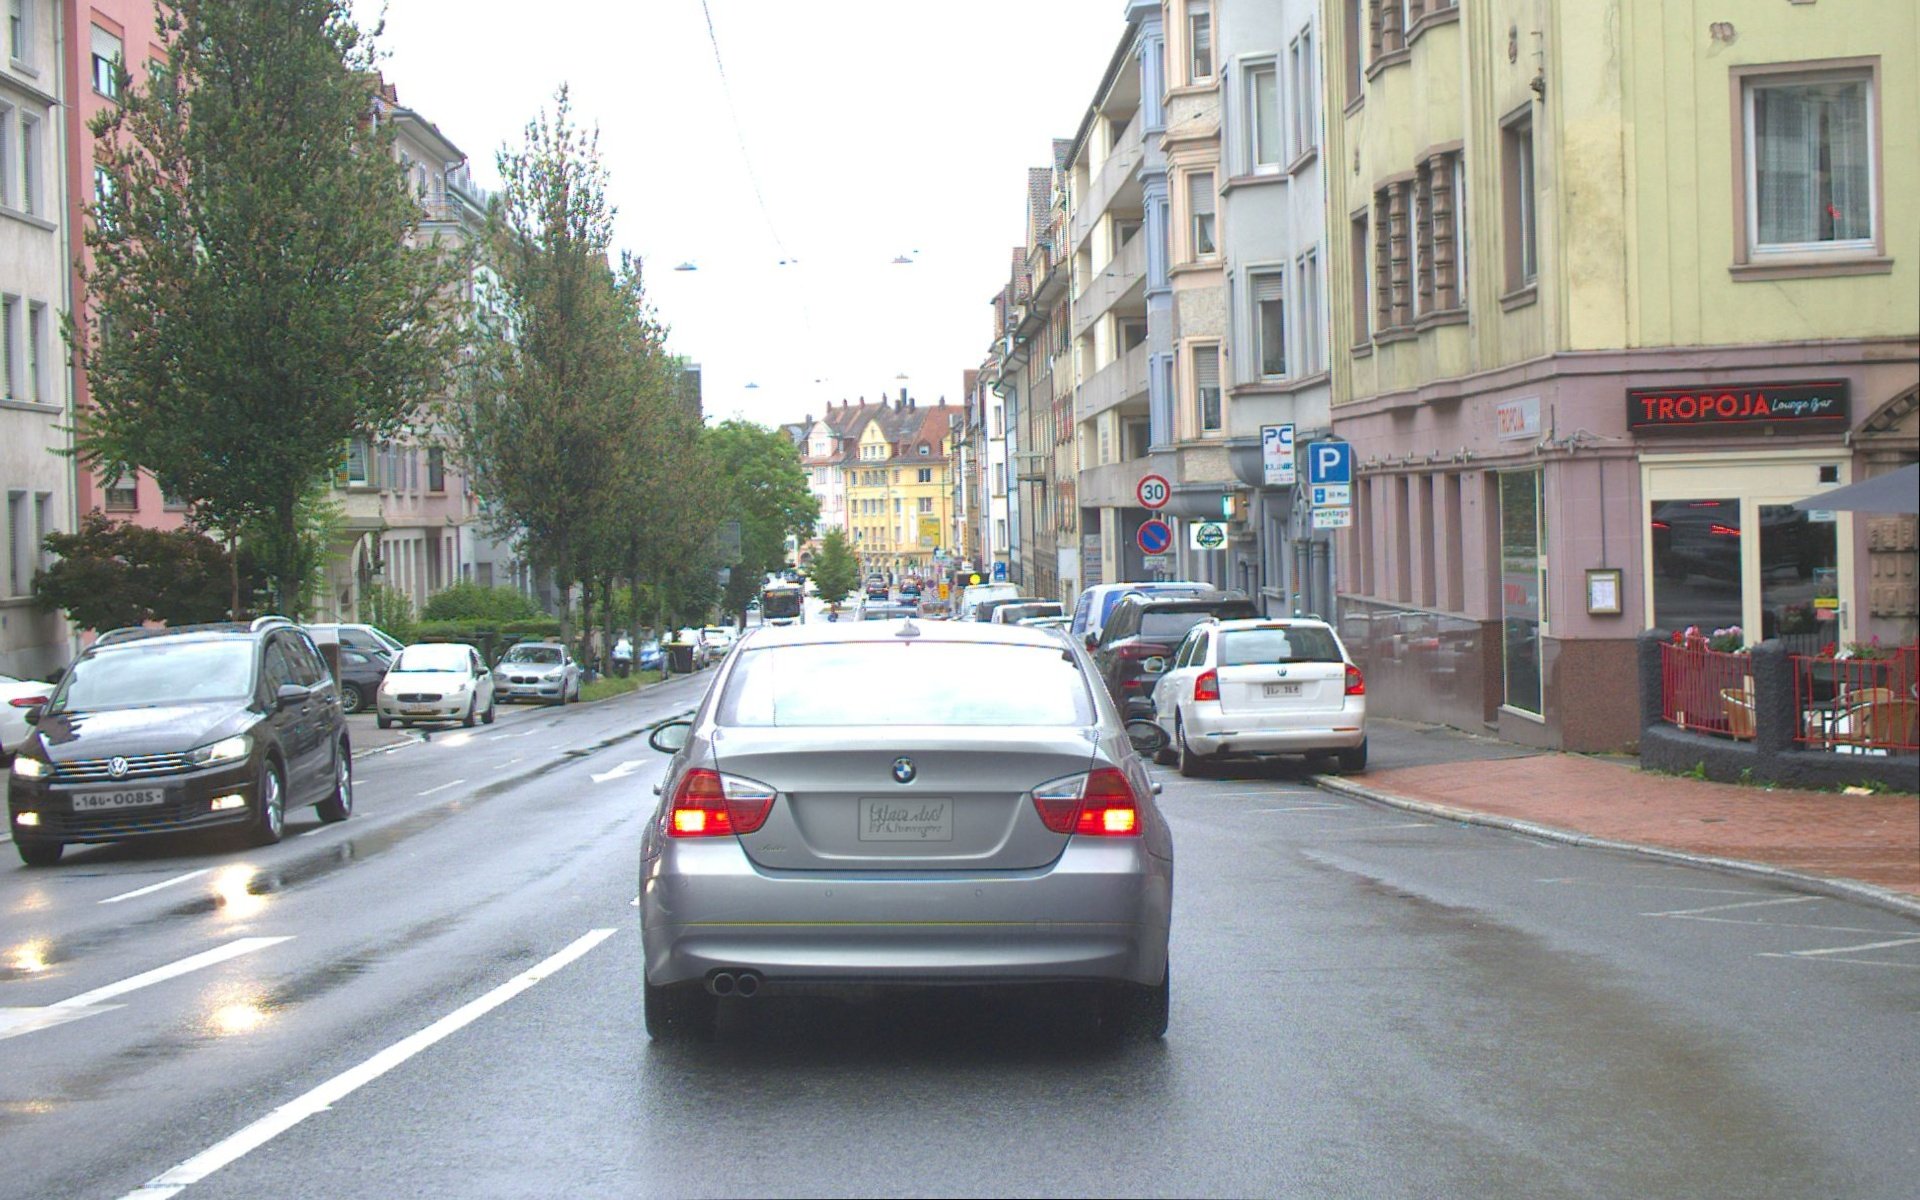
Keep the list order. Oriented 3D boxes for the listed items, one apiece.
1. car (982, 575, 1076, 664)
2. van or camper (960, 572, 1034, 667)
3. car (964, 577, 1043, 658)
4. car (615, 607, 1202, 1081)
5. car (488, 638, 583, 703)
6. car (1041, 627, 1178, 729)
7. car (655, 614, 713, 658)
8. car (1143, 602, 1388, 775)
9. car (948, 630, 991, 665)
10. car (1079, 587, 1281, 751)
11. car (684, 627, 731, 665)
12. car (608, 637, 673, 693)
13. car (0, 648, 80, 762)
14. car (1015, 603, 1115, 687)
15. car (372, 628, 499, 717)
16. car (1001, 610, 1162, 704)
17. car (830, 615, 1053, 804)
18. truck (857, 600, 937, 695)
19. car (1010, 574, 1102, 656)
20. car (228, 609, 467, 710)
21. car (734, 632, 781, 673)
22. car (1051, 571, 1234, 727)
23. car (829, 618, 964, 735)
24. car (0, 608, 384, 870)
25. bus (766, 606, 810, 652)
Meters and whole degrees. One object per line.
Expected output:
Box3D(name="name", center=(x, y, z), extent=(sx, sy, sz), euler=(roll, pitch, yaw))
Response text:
Box3D(name="car", center=(1.630, 0.476, 83.050), extent=(1.982, 2.000, 4.625), euler=(-3, 0, -1))
Box3D(name="van or camper", center=(1.204, 0.590, 108.166), extent=(2.033, 2.859, 6.884), euler=(1, 0, 3))
Box3D(name="car", center=(1.202, 0.491, 97.574), extent=(1.982, 2.158, 4.750), euler=(-3, 0, -1))
Box3D(name="car", center=(-0.227, 0.756, 12.238), extent=(1.769, 1.423, 3.741), euler=(0, -1, -2))
Box3D(name="car", center=(-9.942, 1.648, 80.710), extent=(1.726, 1.479, 3.989), euler=(0, -1, 0))
Box3D(name="car", center=(2.110, 1.098, 49.558), extent=(1.677, 1.370, 4.276), euler=(-1, 0, -1))
Box3D(name="car", center=(-10.543, 1.357, 131.410), extent=(1.827, 1.518, 3.736), euler=(-4, 0, 0))
Box3D(name="car", center=(2.871, 0.807, 33.210), extent=(1.799, 1.559, 4.493), euler=(0, 0, -2))
Box3D(name="car", center=(0.377, 2.013, 146.063), extent=(1.697, 1.478, 3.975), euler=(0, -1, -2))
Box3D(name="car", center=(2.401, 0.743, 38.606), extent=(1.879, 1.726, 4.677), euler=(0, 0, -1))
Box3D(name="car", center=(-11.113, 2.016, 151.577), extent=(1.691, 1.518, 3.736), euler=(-4, 0, 0))
Box3D(name="car", center=(-10.137, 2.050, 109.329), extent=(1.766, 1.588, 4.000), euler=(-4, 0, -2))
Box3D(name="car", center=(-13.908, 1.444, 44.475), extent=(4.547, 1.396, 1.768), euler=(-3, 0, -1))
Box3D(name="car", center=(1.893, 0.801, 62.919), extent=(1.611, 1.470, 4.016), euler=(-1, 0, -1))
Box3D(name="car", center=(-9.291, 1.264, 61.170), extent=(1.621, 1.441, 4.005), euler=(-2, 0, 0))
Box3D(name="car", center=(1.930, 0.915, 56.098), extent=(1.875, 1.462, 4.775), euler=(0, -1, -7))
Box3D(name="car", center=(-0.140, 0.847, 27.881), extent=(1.682, 1.423, 3.741), euler=(0, -1, 0))
Box3D(name="truck", center=(-1.680, 1.239, 90.024), extent=(2.032, 2.404, 4.827), euler=(0, -1, -2))
Box3D(name="car", center=(2.112, 0.337, 76.349), extent=(1.726, 1.664, 4.288), euler=(-4, 0, -1))
Box3D(name="car", center=(-13.438, 1.295, 75.611), extent=(4.828, 1.967, 2.048), euler=(-2, 0, -1))
Box3D(name="car", center=(-8.207, 2.102, 139.510), extent=(1.636, 1.503, 3.755), euler=(-4, 0, -1))
Box3D(name="car", center=(2.304, 0.606, 44.630), extent=(1.919, 1.821, 5.009), euler=(-3, 0, -1))
Box3D(name="car", center=(-0.830, 0.991, 45.427), extent=(1.697, 1.478, 3.793), euler=(0, -1, -1))
Box3D(name="car", center=(-5.561, 0.942, 25.388), extent=(1.621, 1.643, 4.419), euler=(-5, 0, 2))
Box3D(name="bus", center=(-11.923, 1.967, 238.584), extent=(2.668, 3.014, 7.670), euler=(-3, 0, -1))
